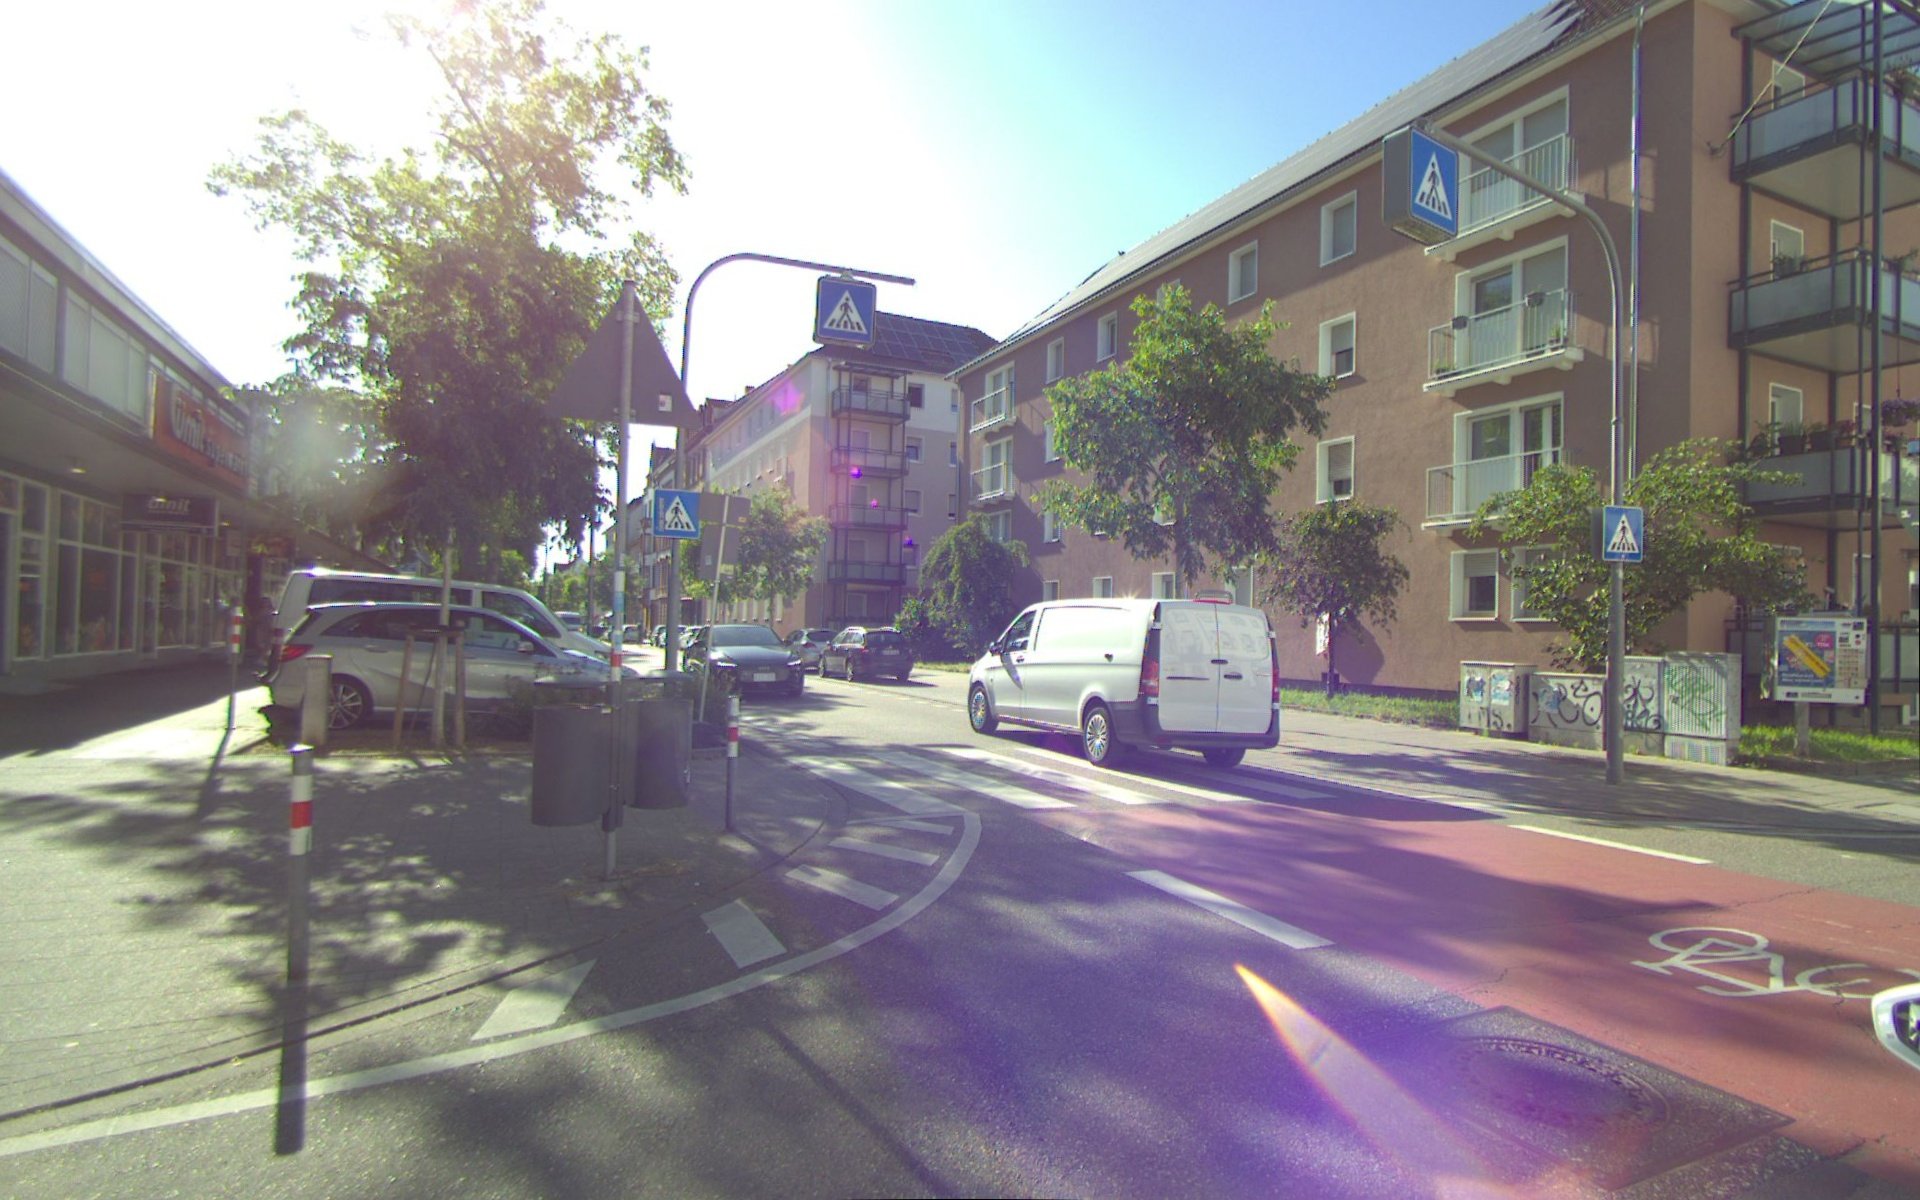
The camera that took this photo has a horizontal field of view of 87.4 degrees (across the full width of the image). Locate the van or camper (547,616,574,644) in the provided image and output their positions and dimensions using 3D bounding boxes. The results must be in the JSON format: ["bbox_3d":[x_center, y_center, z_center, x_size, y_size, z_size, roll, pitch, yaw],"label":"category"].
[{"bbox_3d":[-37.543,2.808,94.352,1.973,2.508,5.785,1,-2,-25],"label":"van or camper"}]

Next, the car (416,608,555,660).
[{"bbox_3d":[-19.924,1.462,42.353,5.162,2.007,1.651,3,-2,-27],"label":"car"}]

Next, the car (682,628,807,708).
[{"bbox_3d":[-4.693,1.347,21.401,1.887,1.473,4.554,0,-1,-22],"label":"car"}]

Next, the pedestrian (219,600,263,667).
[{"bbox_3d":[-17.096,0.796,23.893,0.680,1.541,0.529,4,-2,-24],"label":"pedestrian"}]

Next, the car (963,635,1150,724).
[{"bbox_3d":[1.721,1.445,19.365,1.722,1.473,4.129,2,-2,-25],"label":"car"}]

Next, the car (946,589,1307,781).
[{"bbox_3d":[1.793,0.941,13.040,2.078,1.932,5.396,2,-2,-22],"label":"car"}]

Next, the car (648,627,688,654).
[{"bbox_3d":[-17.517,2.388,60.153,1.722,1.539,3.835,2,-2,-24],"label":"car"}]

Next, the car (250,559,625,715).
[{"bbox_3d":[-7.756,0.635,15.353,4.686,2.032,1.946,4,-3,-27],"label":"car"}]

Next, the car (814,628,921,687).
[{"bbox_3d":[-2.755,1.619,29.029,1.764,1.539,4.283,2,-2,-24],"label":"car"}]

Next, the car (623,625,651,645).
[{"bbox_3d":[-25.805,2.753,80.191,1.722,1.539,3.835,2,-2,-24],"label":"car"}]

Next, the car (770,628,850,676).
[{"bbox_3d":[-5.235,1.774,34.683,1.722,1.539,3.835,2,-2,-24],"label":"car"}]

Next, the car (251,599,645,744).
[{"bbox_3d":[-6.450,0.906,13.081,4.248,1.634,1.747,2,-2,-26],"label":"car"}]

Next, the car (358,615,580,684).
[{"bbox_3d":[-11.752,1.216,24.266,4.612,1.513,1.815,3,-2,-27],"label":"car"}]
